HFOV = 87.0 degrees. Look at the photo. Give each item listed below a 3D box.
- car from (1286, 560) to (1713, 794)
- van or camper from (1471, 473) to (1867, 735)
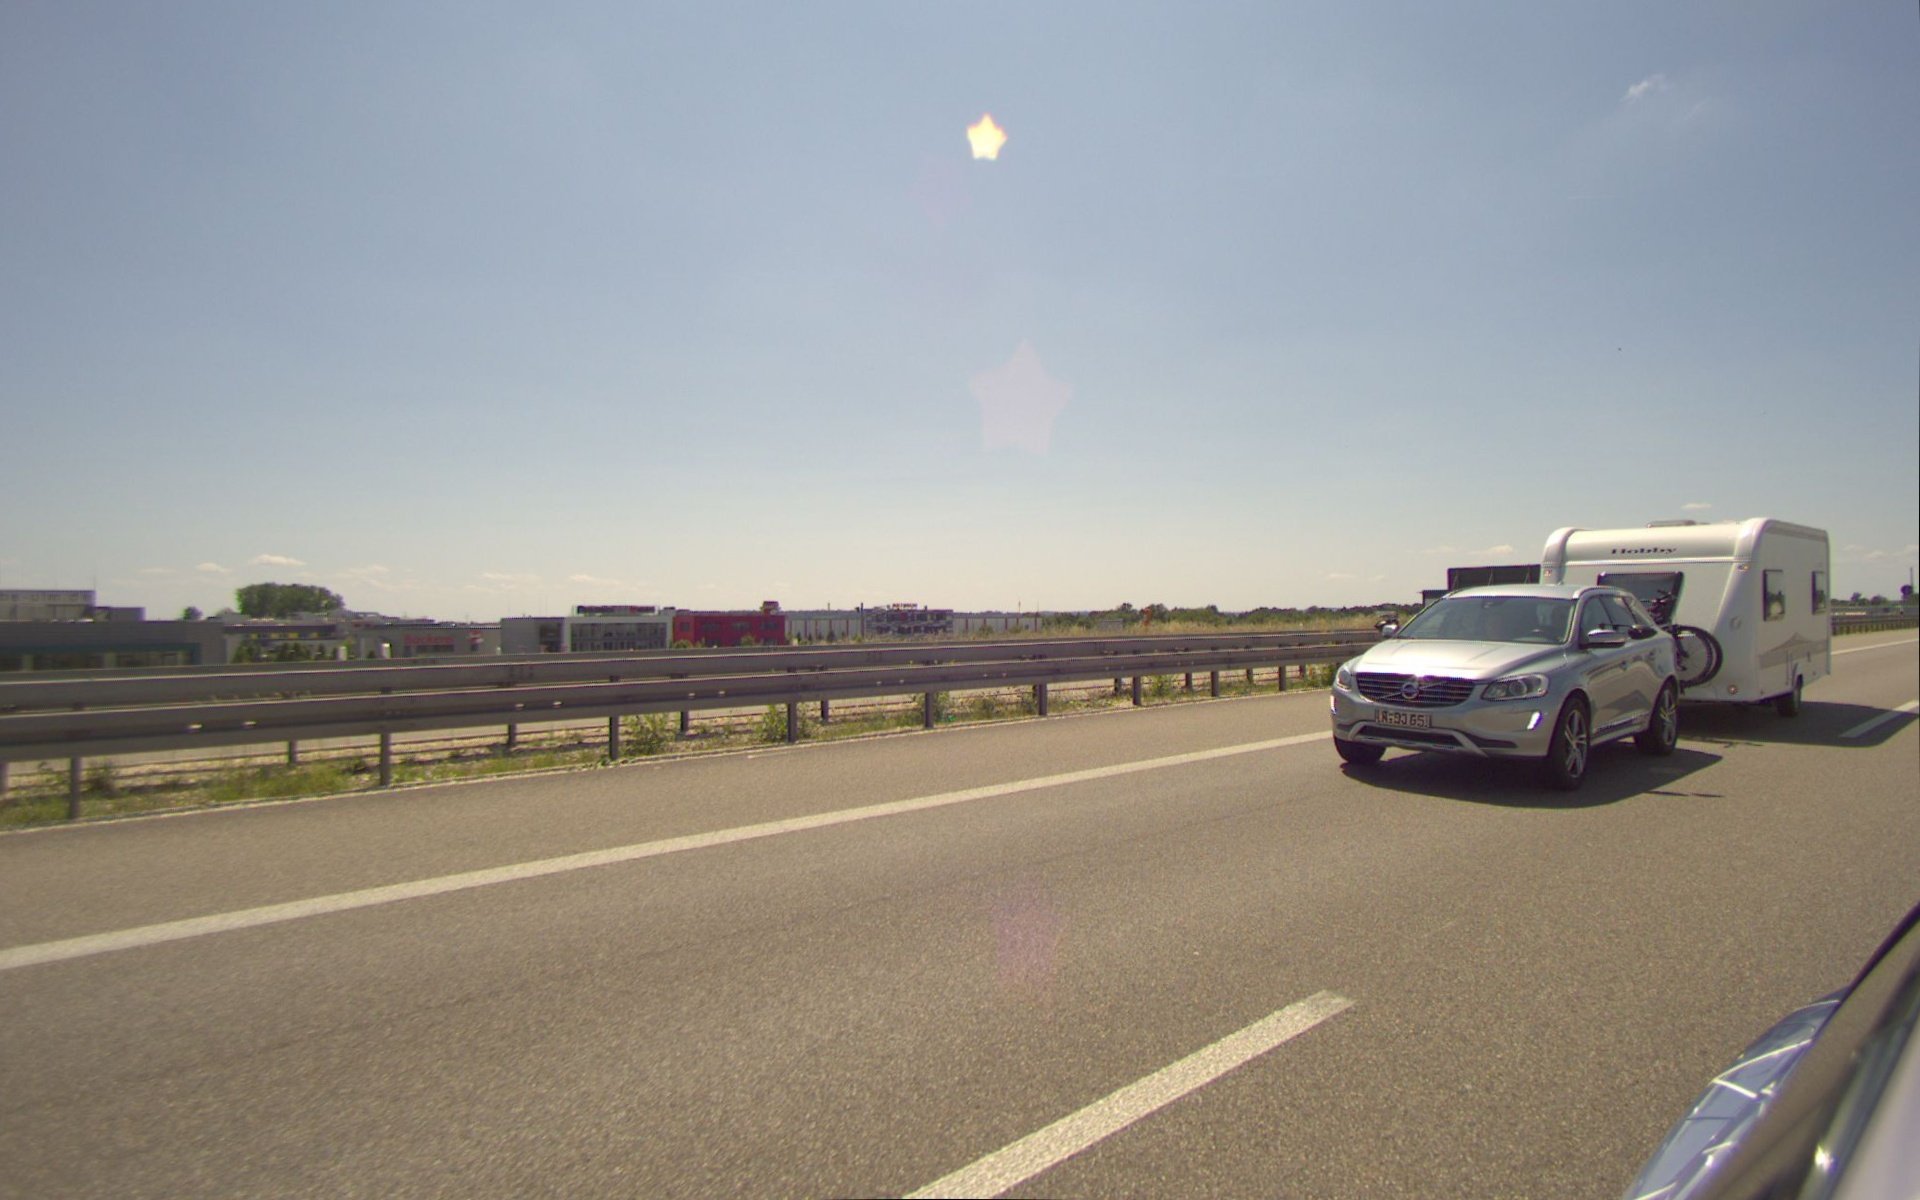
[{"bbox_3d":[5.196,0.546,9.414,4.817,1.643,1.884,0,0,-40],"label":"car"},{"bbox_3d":[9.825,0.066,13.608,7.679,2.626,2.517,1,-1,-40],"label":"van or camper"}]
